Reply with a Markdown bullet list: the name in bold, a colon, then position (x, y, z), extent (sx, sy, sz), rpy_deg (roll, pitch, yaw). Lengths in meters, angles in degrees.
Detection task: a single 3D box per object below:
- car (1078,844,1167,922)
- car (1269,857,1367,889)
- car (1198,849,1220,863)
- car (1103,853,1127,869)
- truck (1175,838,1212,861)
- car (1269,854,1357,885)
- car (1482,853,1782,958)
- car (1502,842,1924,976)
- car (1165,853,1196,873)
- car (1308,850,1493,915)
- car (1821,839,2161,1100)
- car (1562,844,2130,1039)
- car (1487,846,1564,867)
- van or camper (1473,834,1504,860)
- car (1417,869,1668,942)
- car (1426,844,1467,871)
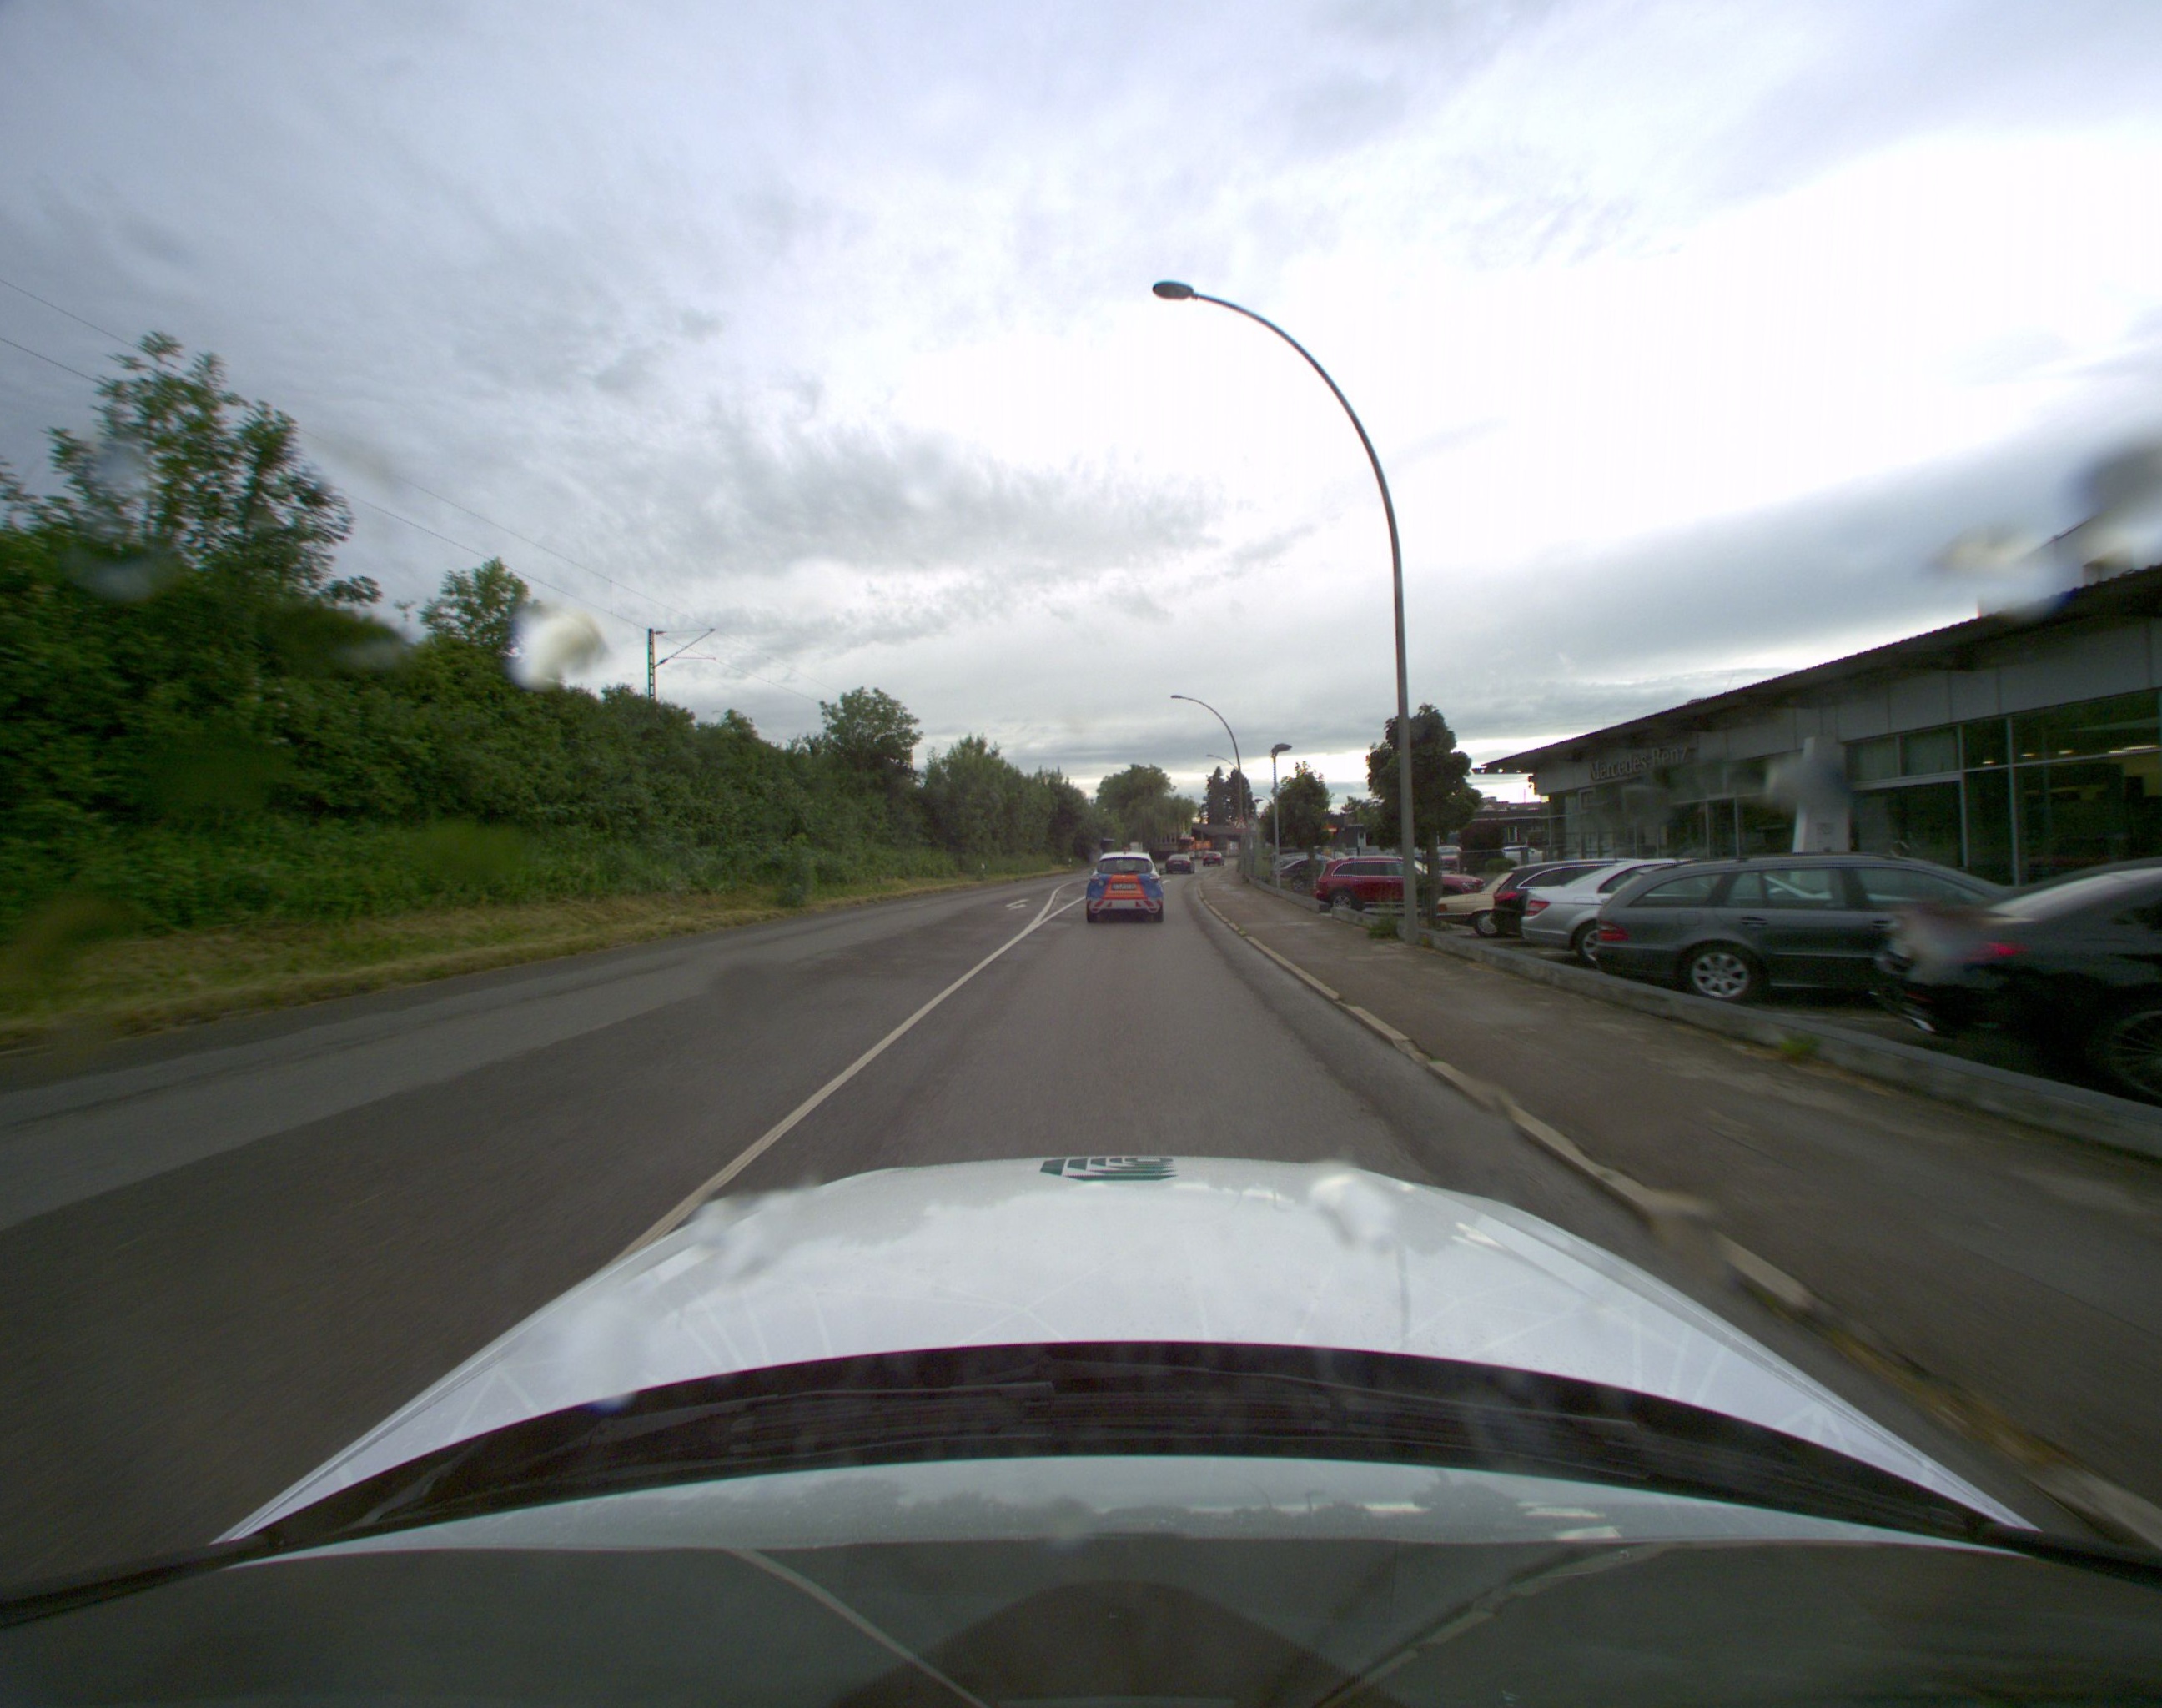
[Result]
- **car**: position (1.034, 0.620, 19.411), extent (1.880, 1.632, 4.005), rpy_deg (-1, 0, 4)
- **car**: position (10.835, 0.873, 37.513), extent (4.085, 1.370, 2.004), rpy_deg (1, -1, 7)
- **car**: position (13.293, 0.216, 84.341), extent (1.980, 1.420, 4.014), rpy_deg (1, -1, 13)
- **car**: position (3.489, 0.753, 83.069), extent (1.982, 1.474, 4.711), rpy_deg (1, -1, 8)
- **truck**: position (18.227, -0.725, 131.013), extent (2.672, 3.412, 9.126), rpy_deg (1, -1, 29)
- **car**: position (11.359, 0.739, 40.042), extent (3.968, 1.408, 1.595), rpy_deg (1, -1, 5)
- **car**: position (9.055, 0.772, 13.714), extent (3.918, 1.492, 1.988), rpy_deg (1, -1, 32)
- **car**: position (8.147, 0.683, 10.948), extent (4.120, 1.467, 1.849), rpy_deg (-3, -2, 37)
- **car**: position (7.100, 0.653, 57.838), extent (1.709, 1.376, 3.947), rpy_deg (1, -1, 13)
- **car**: position (9.157, 0.776, 23.472), extent (4.637, 1.662, 2.012), rpy_deg (1, -1, 32)
- **car**: position (7.708, 0.635, 5.013), extent (4.385, 1.479, 1.947), rpy_deg (-3, -1, 35)
- **car**: position (7.466, 0.714, 8.506), extent (3.949, 1.556, 1.910), rpy_deg (0, -1, 39)
- **car**: position (30.548, 0.166, 55.985), extent (4.591, 1.400, 1.731), rpy_deg (1, -1, 31)
- **van or camper**: position (33.025, -0.516, 65.968), extent (1.975, 1.938, 5.463), rpy_deg (1, -1, 29)
- **car**: position (9.141, 0.975, 16.343), extent (4.181, 1.301, 1.746), rpy_deg (-1, -3, 33)
- **car**: position (21.406, 0.229, 47.601), extent (1.975, 1.420, 4.023), rpy_deg (1, -1, 27)
